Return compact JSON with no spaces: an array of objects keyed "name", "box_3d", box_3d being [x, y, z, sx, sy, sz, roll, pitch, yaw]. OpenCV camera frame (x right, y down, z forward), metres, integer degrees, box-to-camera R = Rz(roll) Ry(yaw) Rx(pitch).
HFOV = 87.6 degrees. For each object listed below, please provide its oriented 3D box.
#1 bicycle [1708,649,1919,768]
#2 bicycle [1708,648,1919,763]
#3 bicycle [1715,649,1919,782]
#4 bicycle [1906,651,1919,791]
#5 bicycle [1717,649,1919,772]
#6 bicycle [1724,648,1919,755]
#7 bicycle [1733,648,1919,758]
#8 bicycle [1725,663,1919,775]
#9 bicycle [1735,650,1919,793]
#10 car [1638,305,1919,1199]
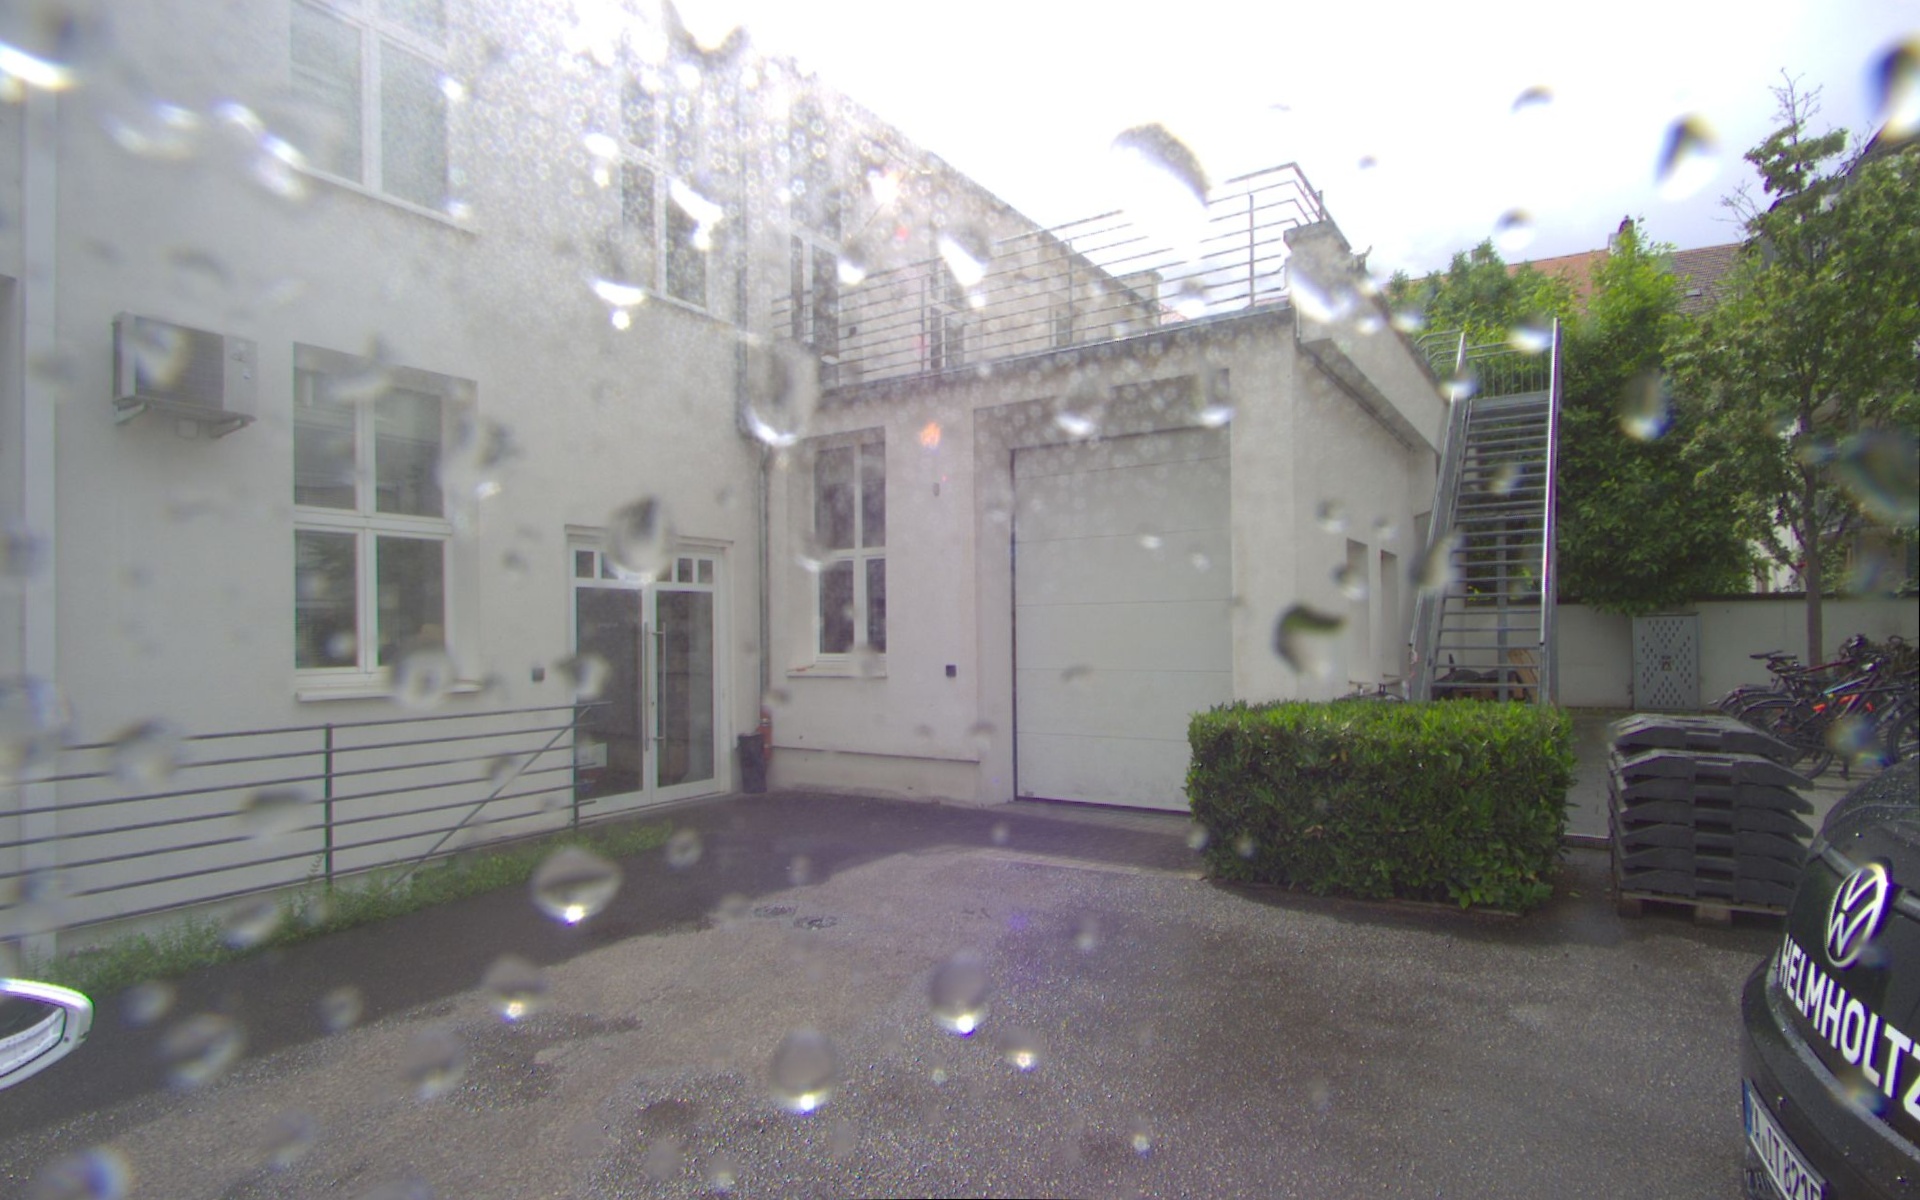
[{"name":"bicycle","box_3d":[8.553,1.051,9.969,1.728,1.118,0.341,-1,0,27]},{"name":"bicycle","box_3d":[8.854,1.064,10.365,1.728,1.118,0.344,-1,0,27]},{"name":"bicycle","box_3d":[7.910,1.013,9.000,1.772,1.118,0.352,-1,-1,35]},{"name":"bicycle","box_3d":[8.559,0.966,7.729,1.772,1.118,0.365,-1,-1,35]},{"name":"bicycle","box_3d":[8.414,1.038,9.655,1.728,1.118,0.331,-1,0,27]},{"name":"bicycle","box_3d":[9.514,1.088,10.997,1.728,1.118,0.341,-1,0,27]},{"name":"bicycle","box_3d":[9.364,1.075,10.678,1.728,1.118,0.354,-1,0,27]},{"name":"bicycle","box_3d":[8.273,1.094,9.342,1.768,0.980,0.328,-1,0,27]},{"name":"bicycle","box_3d":[7.547,0.985,8.279,1.772,1.118,0.403,-1,-1,35]},{"name":"car","box_3d":[3.597,0.532,0.869,4.673,1.888,1.964,-2,-2,26]}]
